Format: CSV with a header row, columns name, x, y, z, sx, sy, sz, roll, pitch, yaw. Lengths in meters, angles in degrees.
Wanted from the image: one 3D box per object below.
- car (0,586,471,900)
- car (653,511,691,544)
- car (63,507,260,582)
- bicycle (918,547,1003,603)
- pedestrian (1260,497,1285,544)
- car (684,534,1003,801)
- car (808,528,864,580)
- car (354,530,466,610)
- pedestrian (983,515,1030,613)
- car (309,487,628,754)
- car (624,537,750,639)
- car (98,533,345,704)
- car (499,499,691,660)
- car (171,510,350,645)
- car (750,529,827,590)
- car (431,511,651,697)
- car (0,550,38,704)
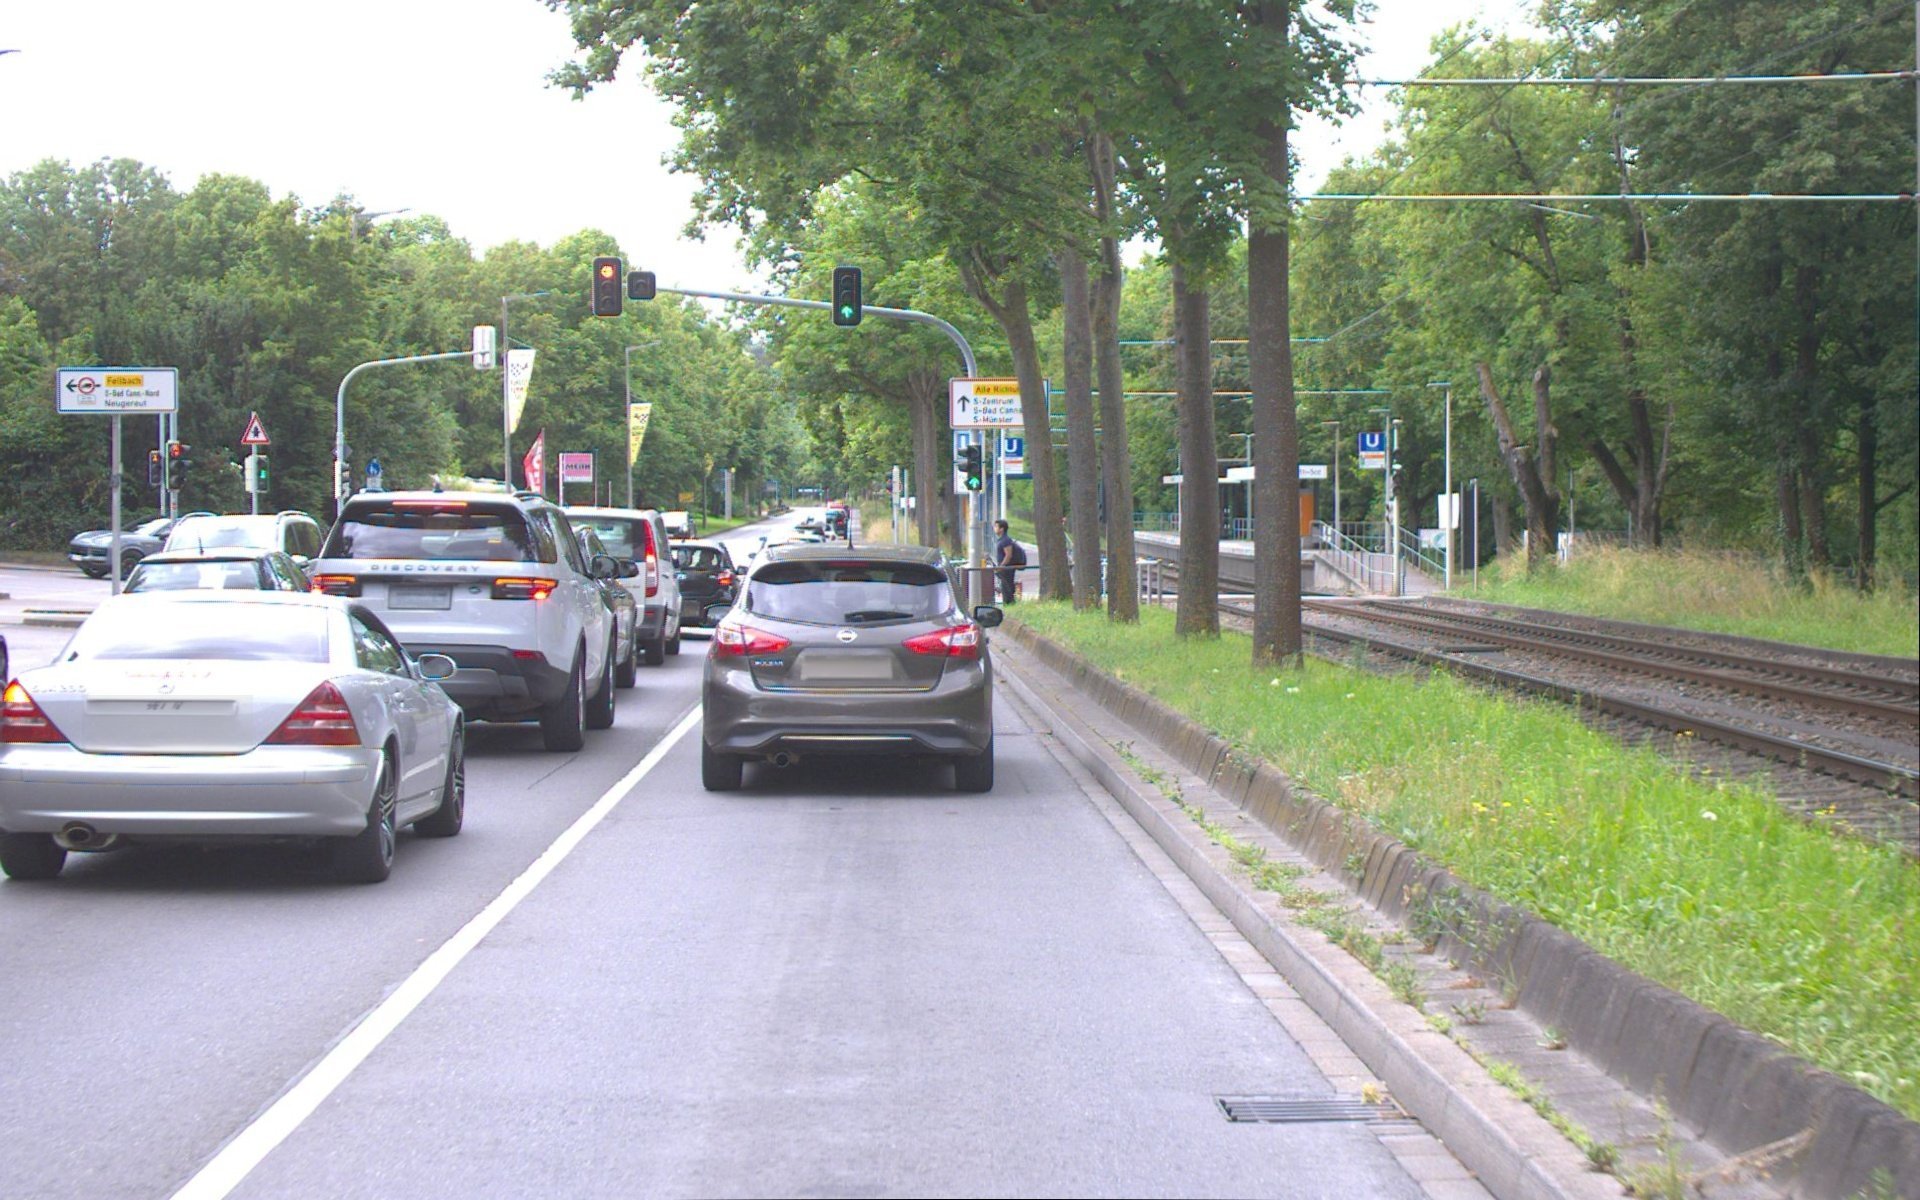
name,x,y,z,sx,sy,sz,roll,pitch,yaw
car,-3.327,0.589,16.261,1.555,1.262,3.823,1,1,-1
car,-15.101,-3.788,180.453,1.901,1.673,5.081,0,1,-4
car,-20.126,-1.391,86.794,4.431,1.805,1.949,0,1,-42
bicycle,0.015,-0.520,71.407,1.674,1.086,0.602,-3,1,-5
pedestrian,10.363,-2.639,114.106,0.718,1.506,0.724,2,0,1
car,-0.671,0.358,22.047,1.837,1.523,3.929,1,1,0
car,-3.763,-1.399,104.662,1.503,1.523,3.671,2,1,0
car,-11.075,-0.622,69.444,1.739,1.533,3.910,2,1,-2
pedestrian,0.844,-0.660,62.528,0.752,1.731,0.839,-2,1,3
car,-3.597,0.115,25.887,1.803,1.789,4.503,2,1,-1
car,-4.118,-0.211,52.301,1.703,1.475,3.668,1,1,-1
car,-6.898,0.128,32.440,1.556,1.461,3.808,-2,1,-1
car,-4.405,-0.282,42.183,1.907,1.837,5.282,1,1,-1
car,-9.984,-0.352,49.347,1.791,1.825,4.410,-1,1,-2
car,-4.345,-1.034,87.476,1.710,1.470,3.671,2,1,0
car,-4.064,0.010,33.938,1.751,1.712,4.335,0,1,-1
car,-9.587,0.256,30.995,1.630,1.390,3.833,1,1,-2
